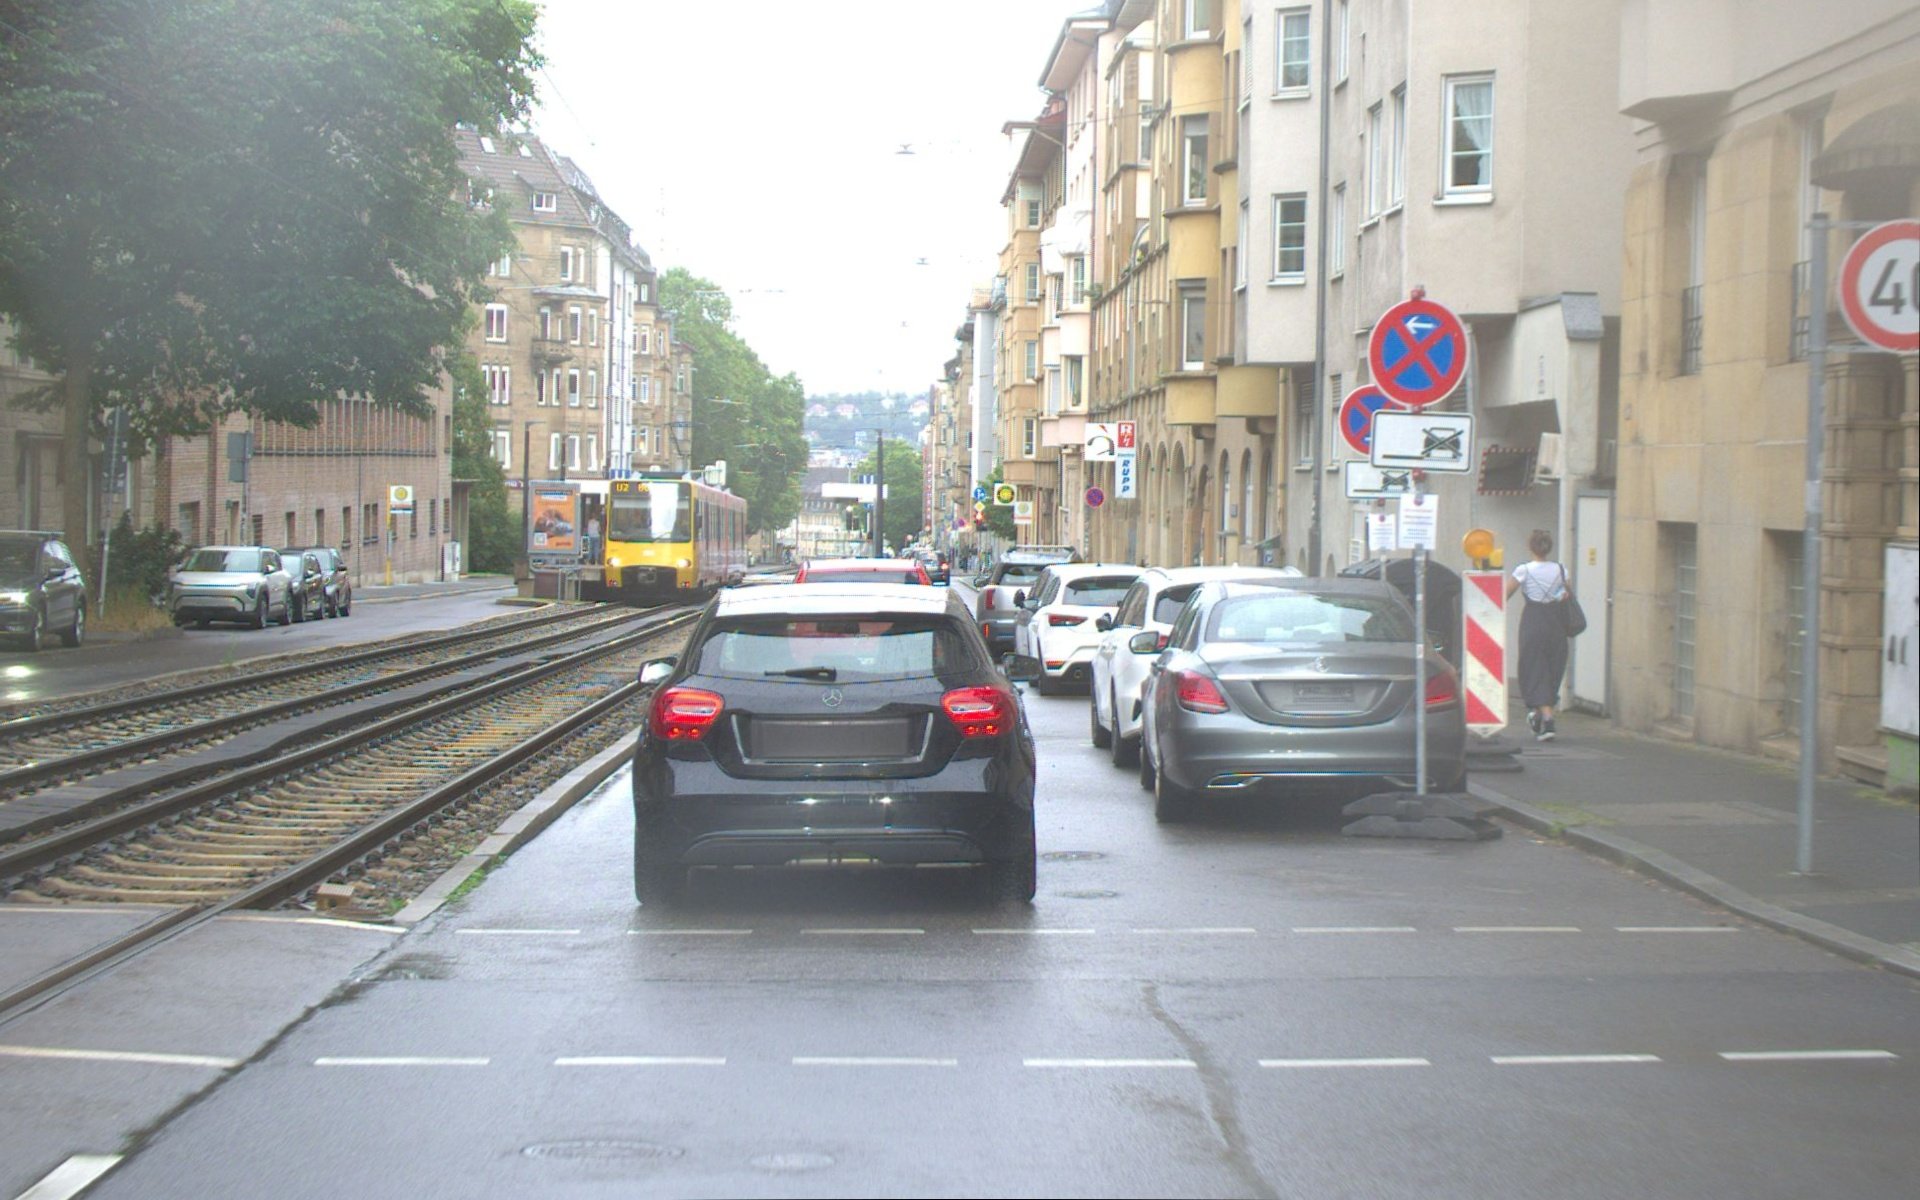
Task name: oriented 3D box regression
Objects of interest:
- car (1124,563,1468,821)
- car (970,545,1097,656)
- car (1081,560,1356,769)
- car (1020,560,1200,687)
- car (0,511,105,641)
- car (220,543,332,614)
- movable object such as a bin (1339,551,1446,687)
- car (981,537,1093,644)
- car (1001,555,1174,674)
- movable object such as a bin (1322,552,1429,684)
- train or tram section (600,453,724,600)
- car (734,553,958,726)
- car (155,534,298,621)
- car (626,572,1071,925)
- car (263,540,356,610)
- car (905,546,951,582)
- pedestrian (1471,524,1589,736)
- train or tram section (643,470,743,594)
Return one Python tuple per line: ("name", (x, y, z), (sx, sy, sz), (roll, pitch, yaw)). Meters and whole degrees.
("car", (1.965, 0.503, 21.328), (1.711, 1.405, 4.817), (0, 0, 1))
("car", (1.114, 0.005, 52.343), (1.841, 1.602, 4.760), (0, 0, 1))
("car", (1.915, 0.454, 26.696), (1.712, 1.463, 4.774), (0, 0, -1))
("car", (1.681, 0.255, 39.755), (1.789, 1.381, 4.395), (0, 0, -1))
("car", (-13.922, -0.405, 49.860), (1.953, 1.736, 4.779), (4, 1, -2))
("car", (-14.334, -0.472, 72.187), (1.666, 1.410, 3.688), (1, 1, -1))
("movable object such as a bin", (4.718, 0.203, 37.564), (0.980, 1.463, 1.273), (0, 0, -1))
("car", (1.268, -0.160, 58.403), (1.778, 1.744, 4.548), (0, 0, 0))
("car", (1.593, 0.176, 44.425), (1.832, 1.463, 4.376), (0, 0, -3))
("movable object such as a bin", (4.714, 0.201, 39.061), (1.018, 1.463, 1.323), (0, 0, -1))
("train or tram section", (-8.846, -2.165, 103.818), (2.745, 4.048, 17.216), (0, 1, -2))
("car", (-1.067, 0.338, 33.318), (1.993, 1.520, 4.246), (1, 0, -1))
("car", (-14.274, -0.463, 67.128), (1.961, 1.600, 4.329), (1, 1, -2))
("car", (-0.491, 0.601, 16.245), (1.834, 1.448, 3.902), (1, 0, -1))
("car", (-14.357, -0.565, 75.950), (1.572, 1.462, 3.045), (1, 1, -2))
("car", (-1.374, -1.582, 151.100), (1.887, 1.520, 4.245), (1, 0, 1))
("pedestrian", (4.578, 0.238, 27.651), (0.804, 1.681, 0.754), (0, 0, -1))
("train or tram section", (-9.237, -2.337, 120.309), (2.745, 4.048, 15.662), (0, 1, -2))
